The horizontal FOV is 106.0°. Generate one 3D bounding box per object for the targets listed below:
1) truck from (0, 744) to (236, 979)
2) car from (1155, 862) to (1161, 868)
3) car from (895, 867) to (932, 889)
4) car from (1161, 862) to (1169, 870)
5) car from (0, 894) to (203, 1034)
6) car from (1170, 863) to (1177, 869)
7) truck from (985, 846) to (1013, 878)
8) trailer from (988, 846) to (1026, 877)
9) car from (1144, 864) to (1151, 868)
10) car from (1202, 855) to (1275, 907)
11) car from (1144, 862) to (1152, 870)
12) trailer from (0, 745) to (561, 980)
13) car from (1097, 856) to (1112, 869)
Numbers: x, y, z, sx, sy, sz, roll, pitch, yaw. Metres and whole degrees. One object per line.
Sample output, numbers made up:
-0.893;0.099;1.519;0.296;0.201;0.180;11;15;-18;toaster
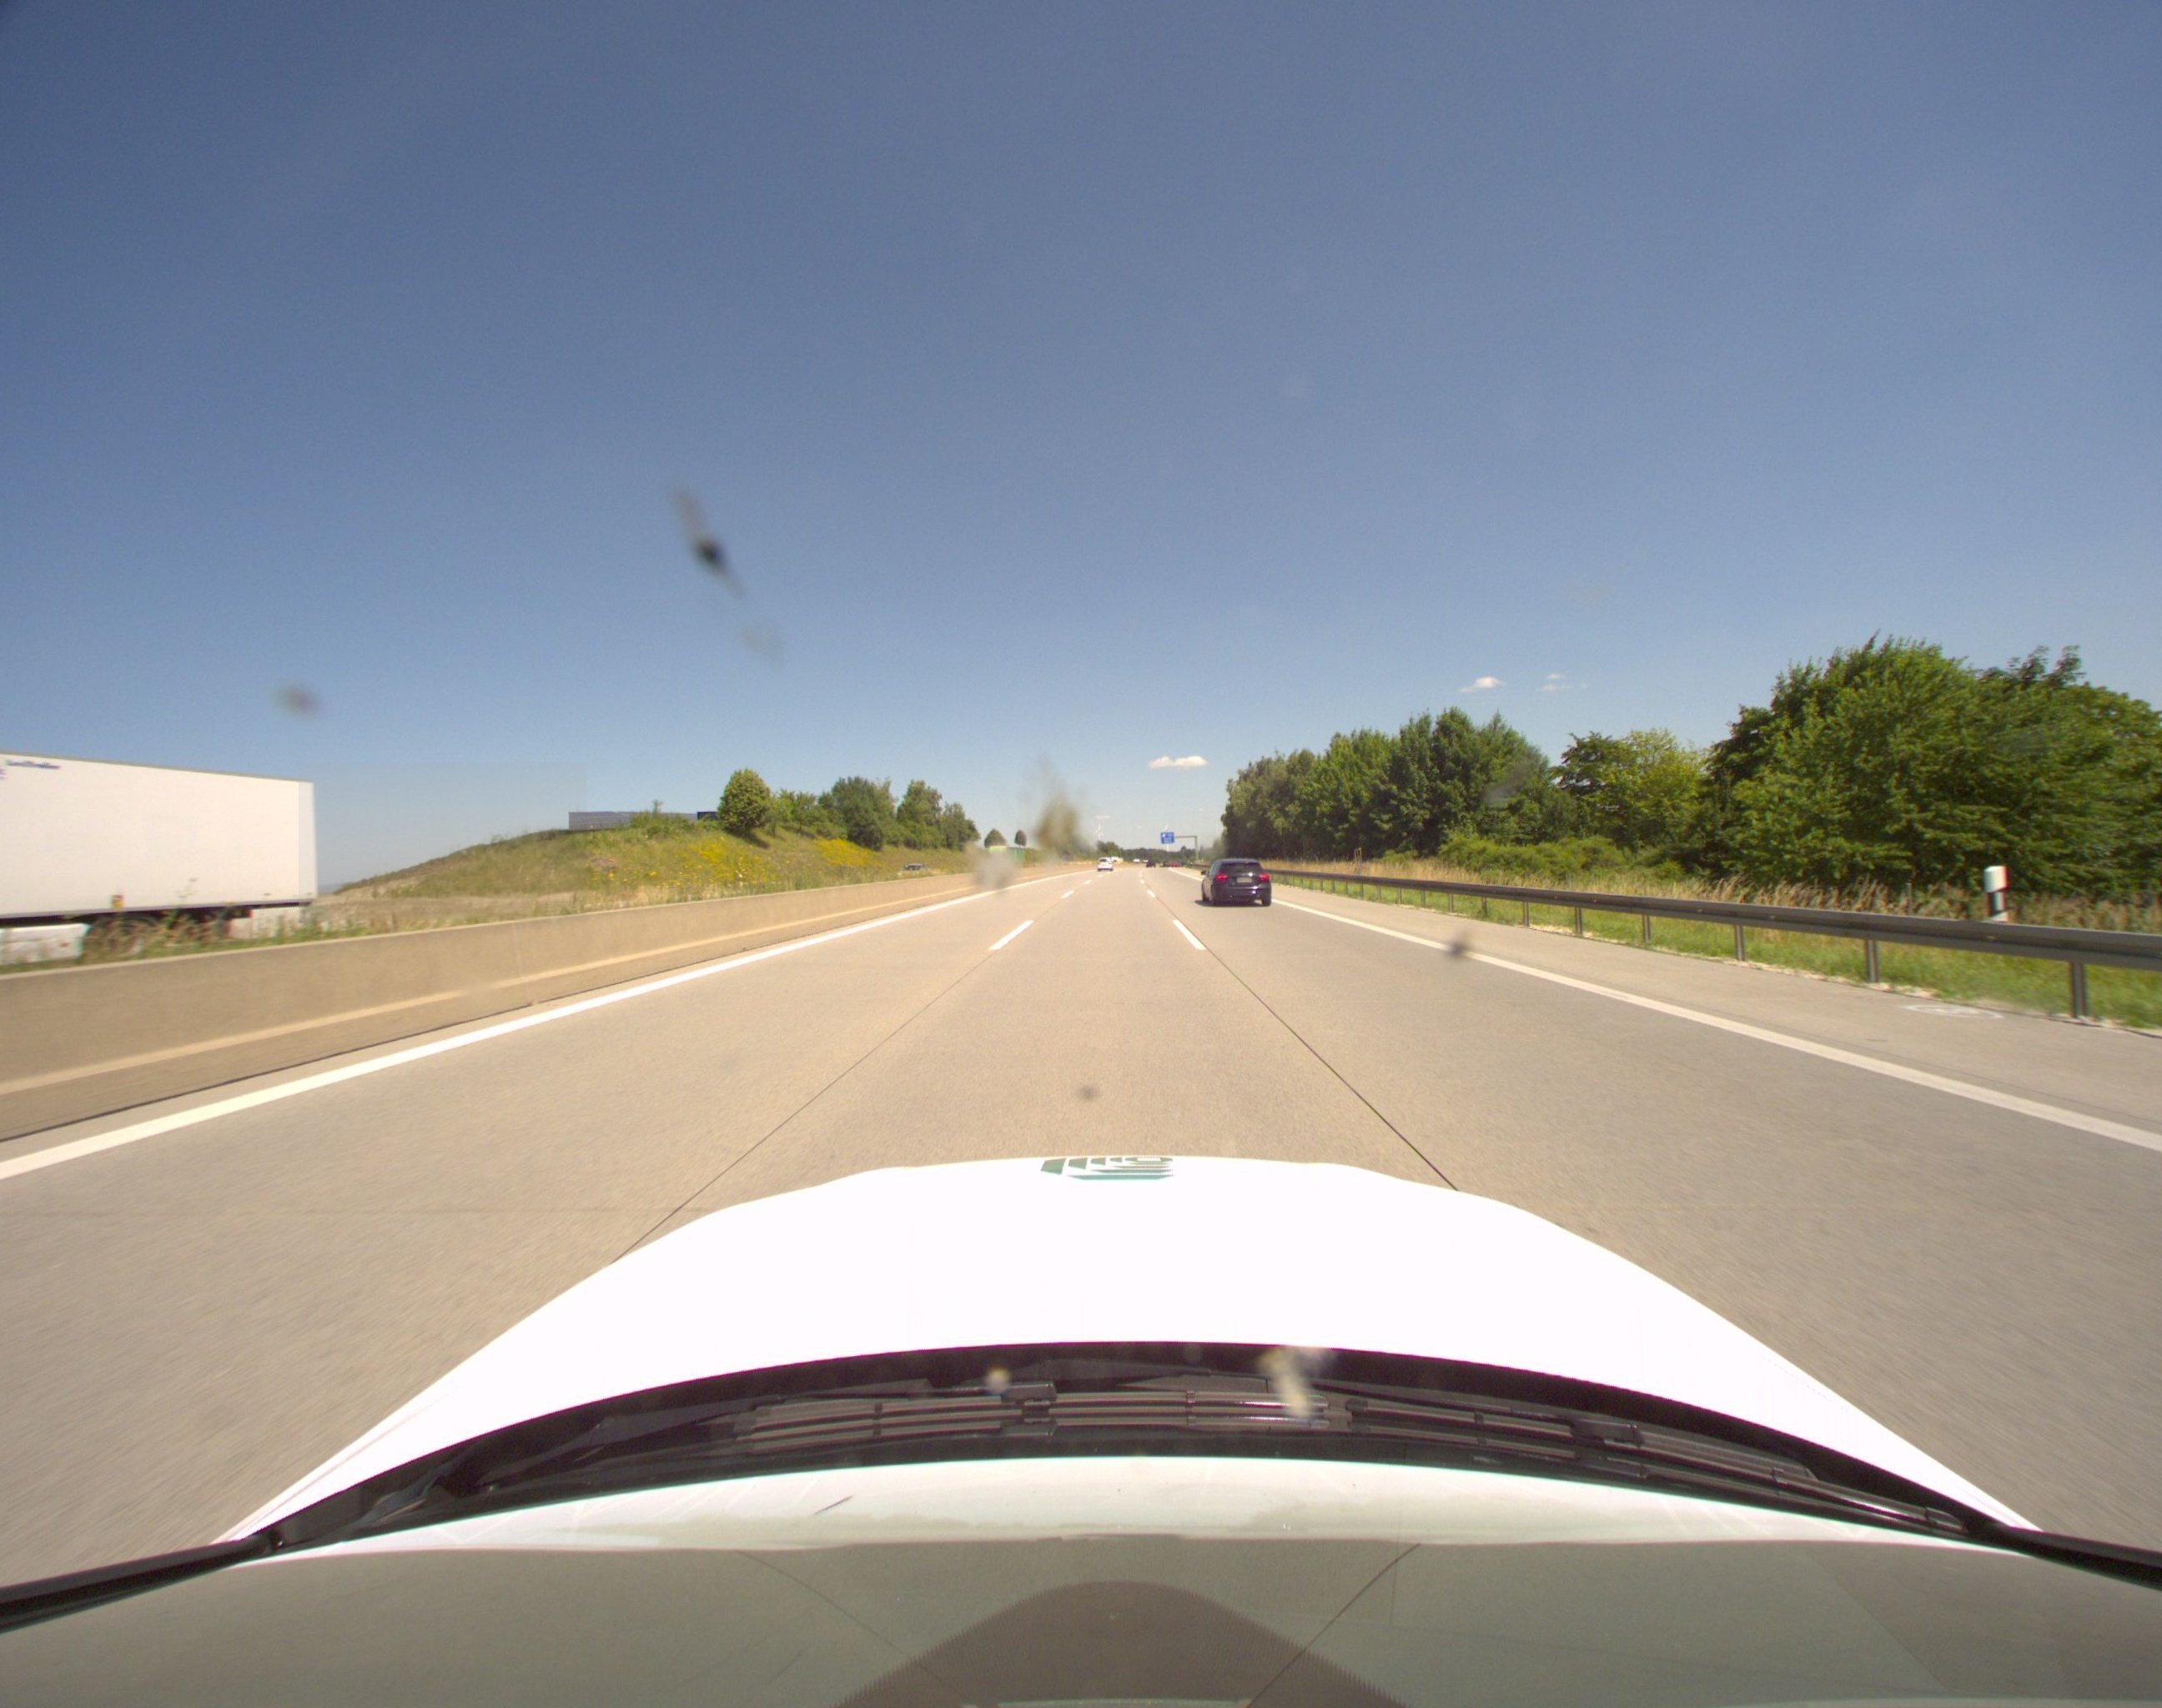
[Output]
-20.142;0.171;14.404;2.979;4.060;6.873;-2;0;2;truck
24.771;3.465;261.541;1.736;1.990;4.004;-2;0;4;car
-13.444;1.876;65.545;1.719;1.585;4.648;-1;0;3;car
19.576;2.797;189.774;1.819;1.907;4.004;-1;0;3;car
-15.869;1.612;11.859;1.737;1.823;4.001;-1;0;1;car
29.219;3.937;257.526;1.780;1.810;3.750;-2;0;4;car
-12.237;1.158;122.578;3.076;4.662;6.272;-1;-1;4;truck
-11.664;1.222;130.167;3.142;4.607;16.456;-1;0;4;trailer
20.896;3.762;255.459;1.650;1.196;3.958;1;0;-1;car
4.894;0.793;25.839;1.901;1.492;4.198;-1;0;6;car
16.721;2.963;202.636;1.818;1.937;3.814;-2;-1;5;car
-19.846;0.200;21.124;2.993;4.060;14.186;-2;0;3;trailer
3.111;1.115;105.979;1.838;1.708;6.038;-1;-1;2;car
